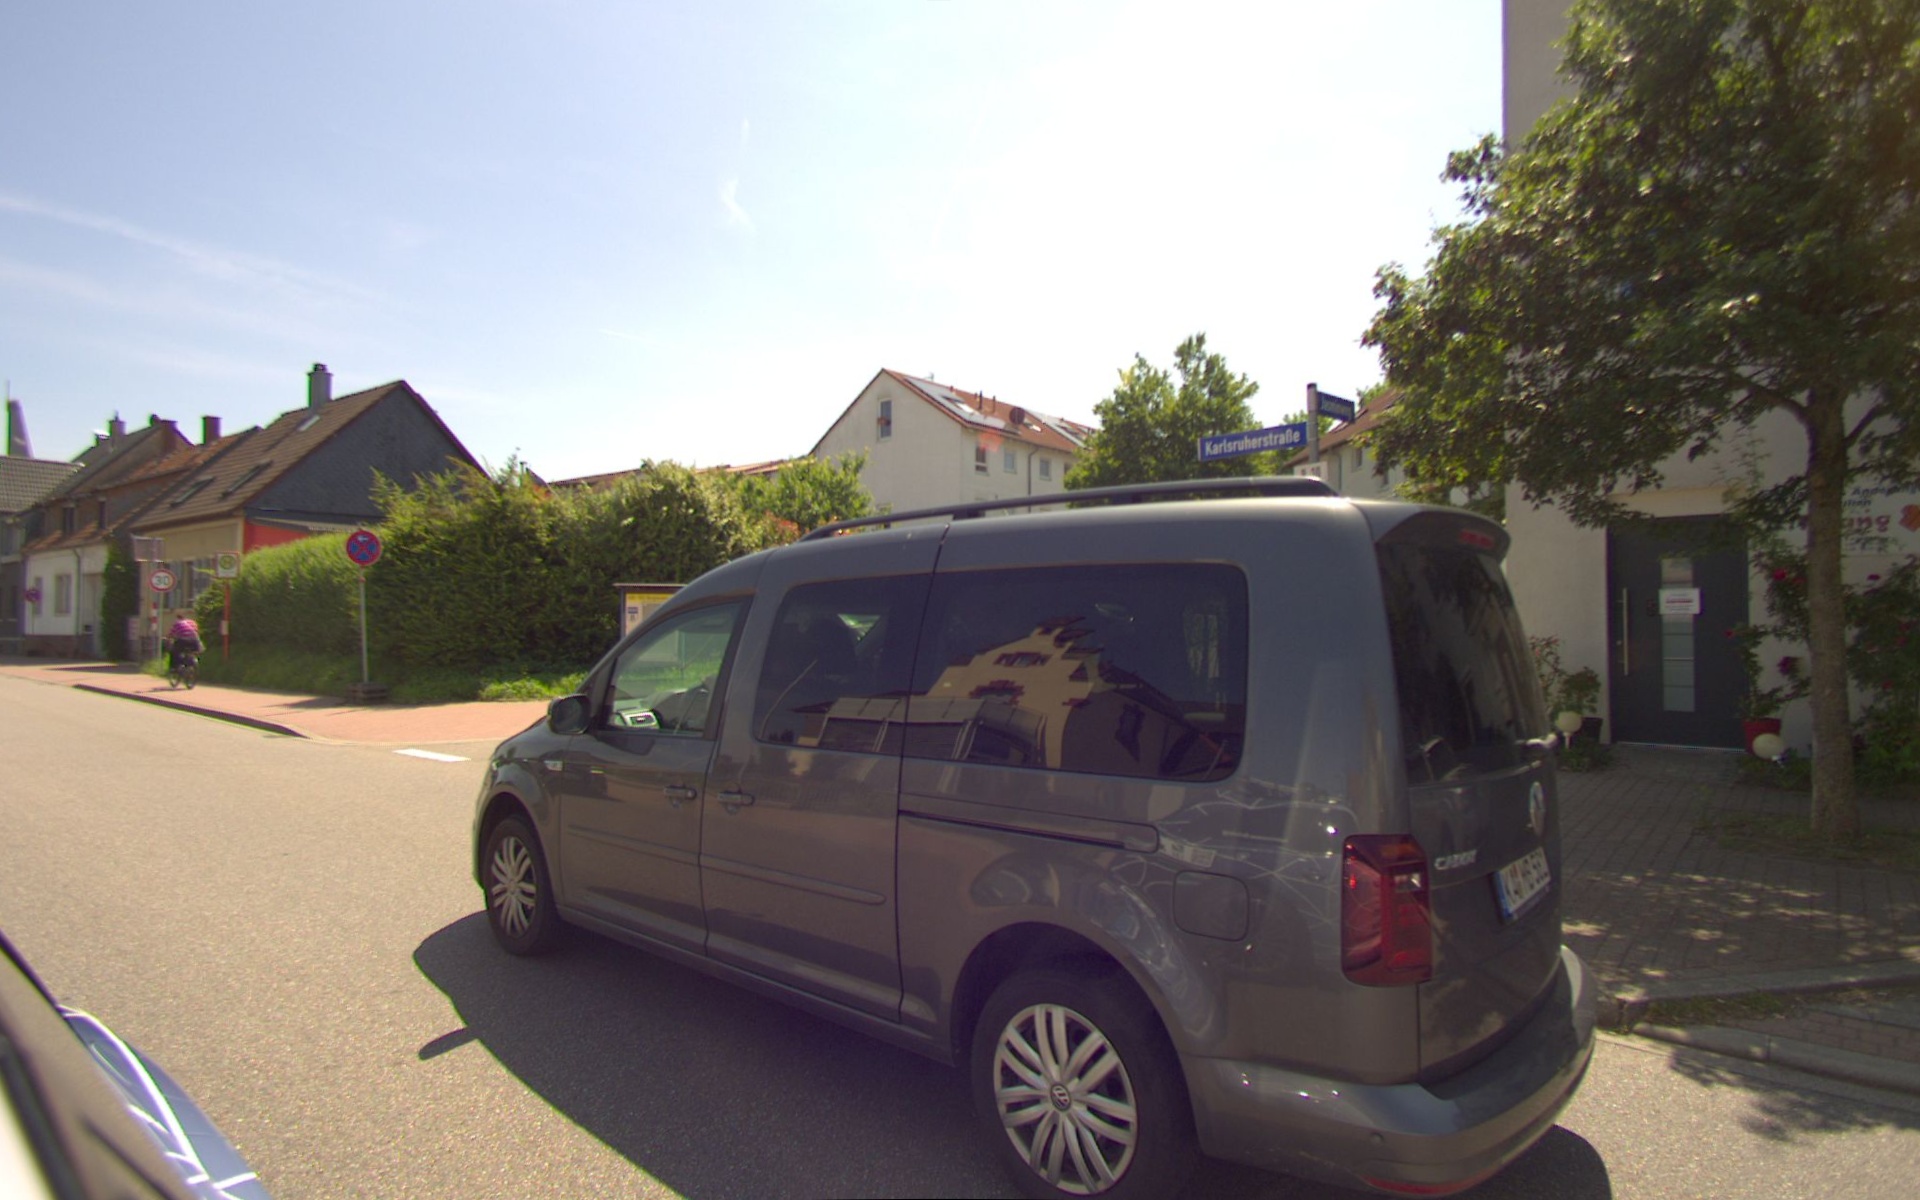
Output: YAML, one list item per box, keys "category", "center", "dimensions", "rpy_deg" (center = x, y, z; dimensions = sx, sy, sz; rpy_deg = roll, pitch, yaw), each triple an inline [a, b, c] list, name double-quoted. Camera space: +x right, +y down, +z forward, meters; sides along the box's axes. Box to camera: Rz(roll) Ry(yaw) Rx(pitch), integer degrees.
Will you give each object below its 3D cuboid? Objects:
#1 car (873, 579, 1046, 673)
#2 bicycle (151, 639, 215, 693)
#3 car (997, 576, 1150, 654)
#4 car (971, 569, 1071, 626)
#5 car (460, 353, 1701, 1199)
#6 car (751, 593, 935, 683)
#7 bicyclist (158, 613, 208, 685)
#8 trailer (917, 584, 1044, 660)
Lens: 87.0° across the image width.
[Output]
- category: "car"
  center: [-0.067, 0.516, 21.438]
  dimensions: [3.511, 1.793, 1.605]
  rpy_deg: [-1, 1, 44]
- category: "bicycle"
  center: [-16.848, 1.405, 21.932]
  dimensions: [2.025, 1.064, 0.664]
  rpy_deg: [-1, 1, 41]
- category: "car"
  center: [2.794, 0.369, 25.402]
  dimensions: [3.552, 1.794, 1.605]
  rpy_deg: [-1, 1, 44]
- category: "car"
  center: [2.036, -0.111, 32.976]
  dimensions: [1.419, 1.747, 3.594]
  rpy_deg: [-1, 1, 38]
- category: "car"
  center: [-0.079, 0.593, 3.797]
  dimensions: [4.462, 1.869, 1.638]
  rpy_deg: [-2, -4, 42]
- category: "car"
  center: [-2.351, 0.698, 19.803]
  dimensions: [3.653, 1.552, 1.605]
  rpy_deg: [-1, 1, 44]
- category: "bicyclist"
  center: [-16.776, 1.040, 21.846]
  dimensions: [0.909, 1.505, 0.652]
  rpy_deg: [-1, 1, 40]
- category: "trailer"
  center: [0.479, 0.514, 24.239]
  dimensions: [2.688, 1.676, 1.413]
  rpy_deg: [-1, 2, 37]
